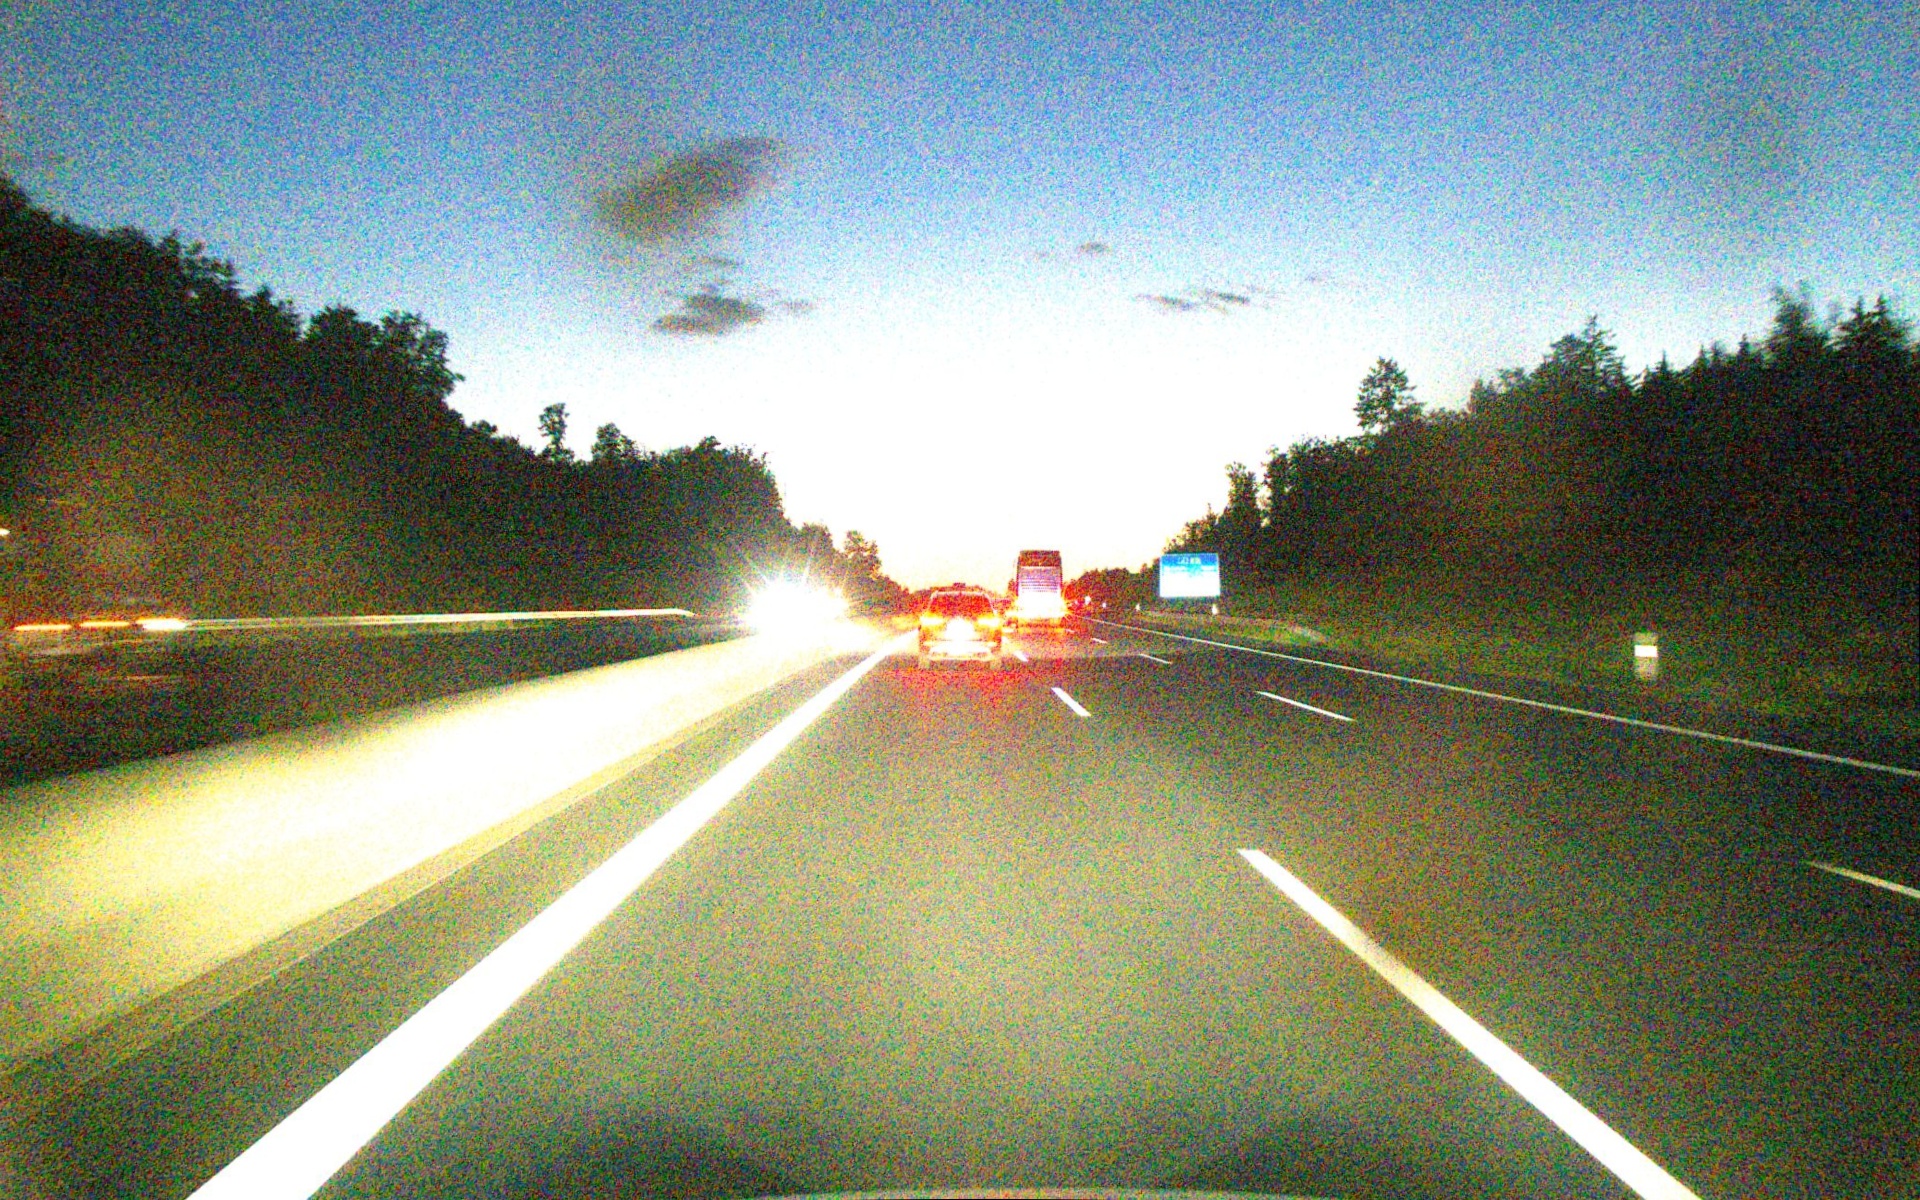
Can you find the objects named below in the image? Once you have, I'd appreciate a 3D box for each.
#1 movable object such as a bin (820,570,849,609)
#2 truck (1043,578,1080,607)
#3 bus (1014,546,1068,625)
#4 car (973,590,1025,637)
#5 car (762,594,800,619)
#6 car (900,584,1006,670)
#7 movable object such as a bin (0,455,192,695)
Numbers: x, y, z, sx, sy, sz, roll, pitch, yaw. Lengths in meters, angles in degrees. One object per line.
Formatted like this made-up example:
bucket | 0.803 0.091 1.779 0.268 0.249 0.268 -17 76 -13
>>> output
movable object such as a bin | -12.612 -1.041 166.575 2.246 3.835 7.687 0 0 1
truck | 11.172 -0.853 182.230 2.497 3.068 9.040 1 0 -7
bus | 4.563 -0.670 95.498 2.597 4.064 14.703 -2 -1 1
car | 1.548 0.560 67.408 1.873 1.760 3.998 3 -1 -1
car | -10.892 0.361 100.888 1.894 1.478 4.453 0 0 -1
car | -0.148 0.583 35.267 2.063 1.646 4.203 -2 -1 0
movable object such as a bin | -15.029 -0.371 26.314 2.162 3.477 7.436 0 0 0
